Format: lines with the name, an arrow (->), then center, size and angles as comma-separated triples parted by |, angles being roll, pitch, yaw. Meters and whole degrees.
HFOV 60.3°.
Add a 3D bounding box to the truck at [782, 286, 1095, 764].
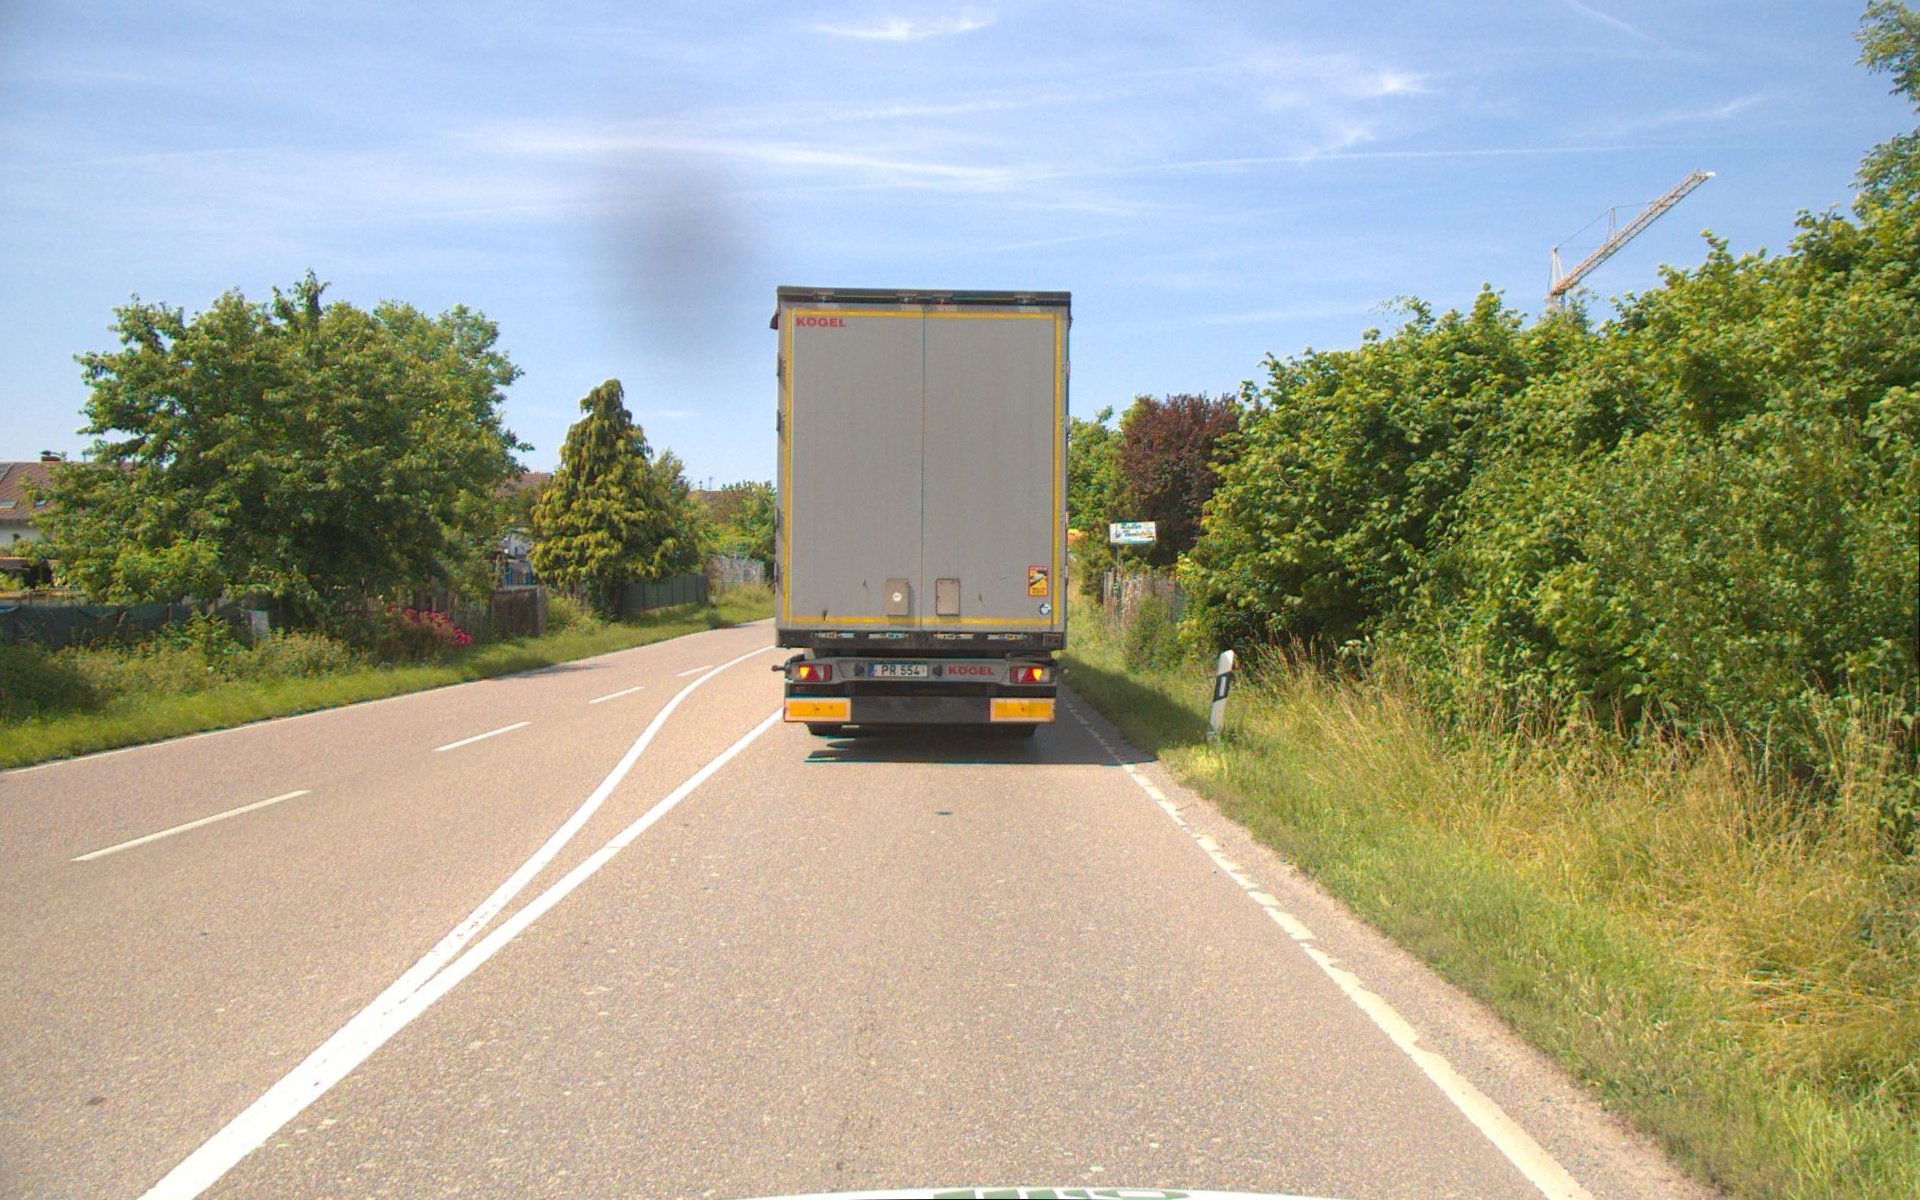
truck -> -0.332, -0.677, 18.297 | 2.594, 3.985, 8.822 | 1, 1, -2
